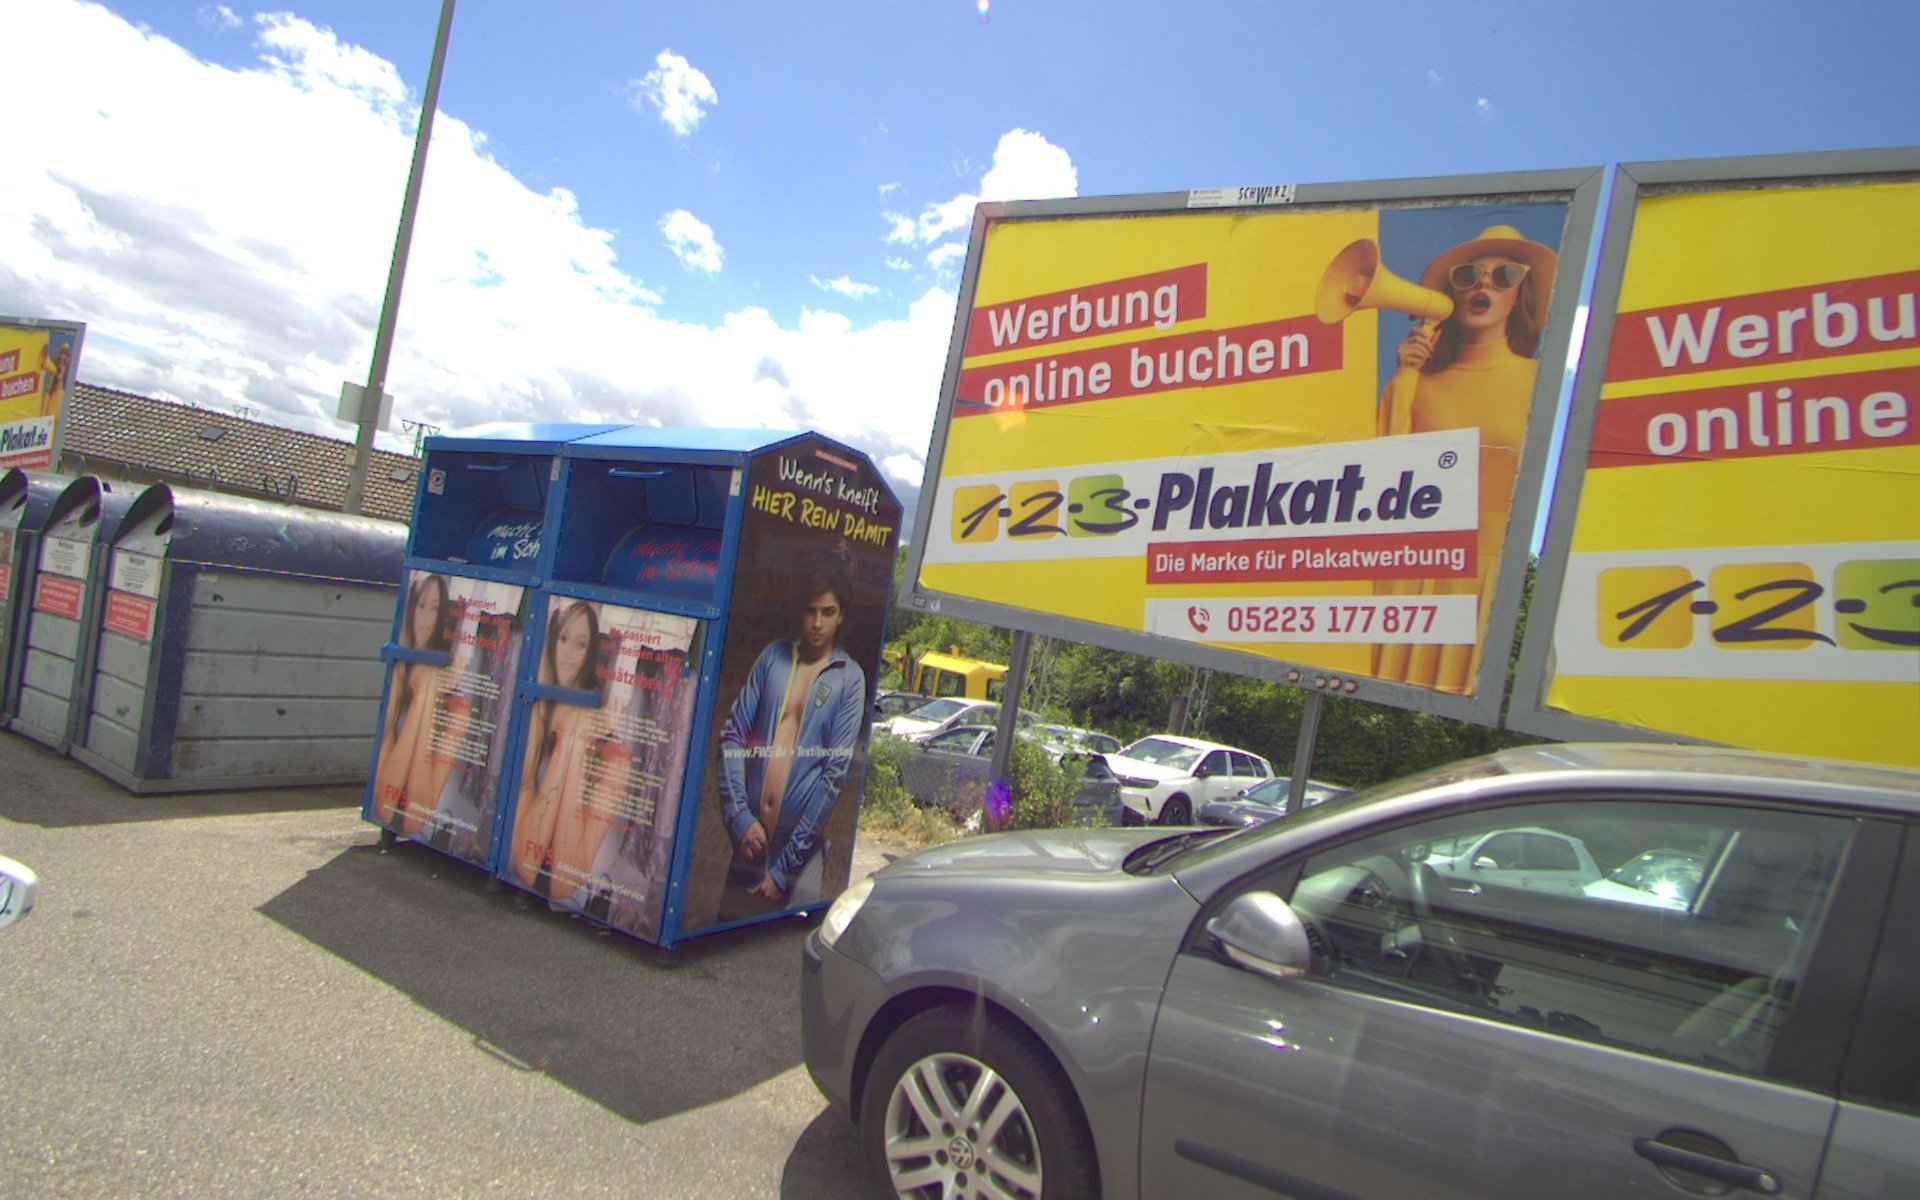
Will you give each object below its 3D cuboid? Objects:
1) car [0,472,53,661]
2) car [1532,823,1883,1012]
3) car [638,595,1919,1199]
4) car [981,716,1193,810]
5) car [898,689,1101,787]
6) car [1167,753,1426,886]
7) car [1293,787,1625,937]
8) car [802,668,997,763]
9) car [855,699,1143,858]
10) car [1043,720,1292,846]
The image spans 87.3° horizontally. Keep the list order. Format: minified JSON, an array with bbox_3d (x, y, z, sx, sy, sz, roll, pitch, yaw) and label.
[{"bbox_3d":[-10.773,-0.593,9.487,4.401,1.678,1.691,7,-2,27],"label":"car"},{"bbox_3d":[9.006,3.740,12.082,3.957,1.557,1.776,10,-2,-28],"label":"car"},{"bbox_3d":[1.252,1.004,2.484,3.979,1.503,1.657,7,-1,34],"label":"car"},{"bbox_3d":[2.478,3.110,19.071,3.978,1.345,1.735,11,-3,-43],"label":"car"},{"bbox_3d":[0.891,2.896,20.907,3.978,1.576,1.801,11,-3,-43],"label":"car"},{"bbox_3d":[5.146,3.272,15.173,3.972,1.458,1.719,10,-3,-38],"label":"car"},{"bbox_3d":[6.589,3.462,13.267,3.990,1.369,1.728,10,-2,-25],"label":"car"},{"bbox_3d":[-1.290,2.620,22.462,3.978,1.630,1.775,11,-3,-43],"label":"car"},{"bbox_3d":[0.467,2.571,15.009,1.692,1.462,4.101,12,-4,-44],"label":"car"},{"bbox_3d":[3.665,3.099,17.241,1.974,1.572,4.440,6,-3,45],"label":"car"}]
